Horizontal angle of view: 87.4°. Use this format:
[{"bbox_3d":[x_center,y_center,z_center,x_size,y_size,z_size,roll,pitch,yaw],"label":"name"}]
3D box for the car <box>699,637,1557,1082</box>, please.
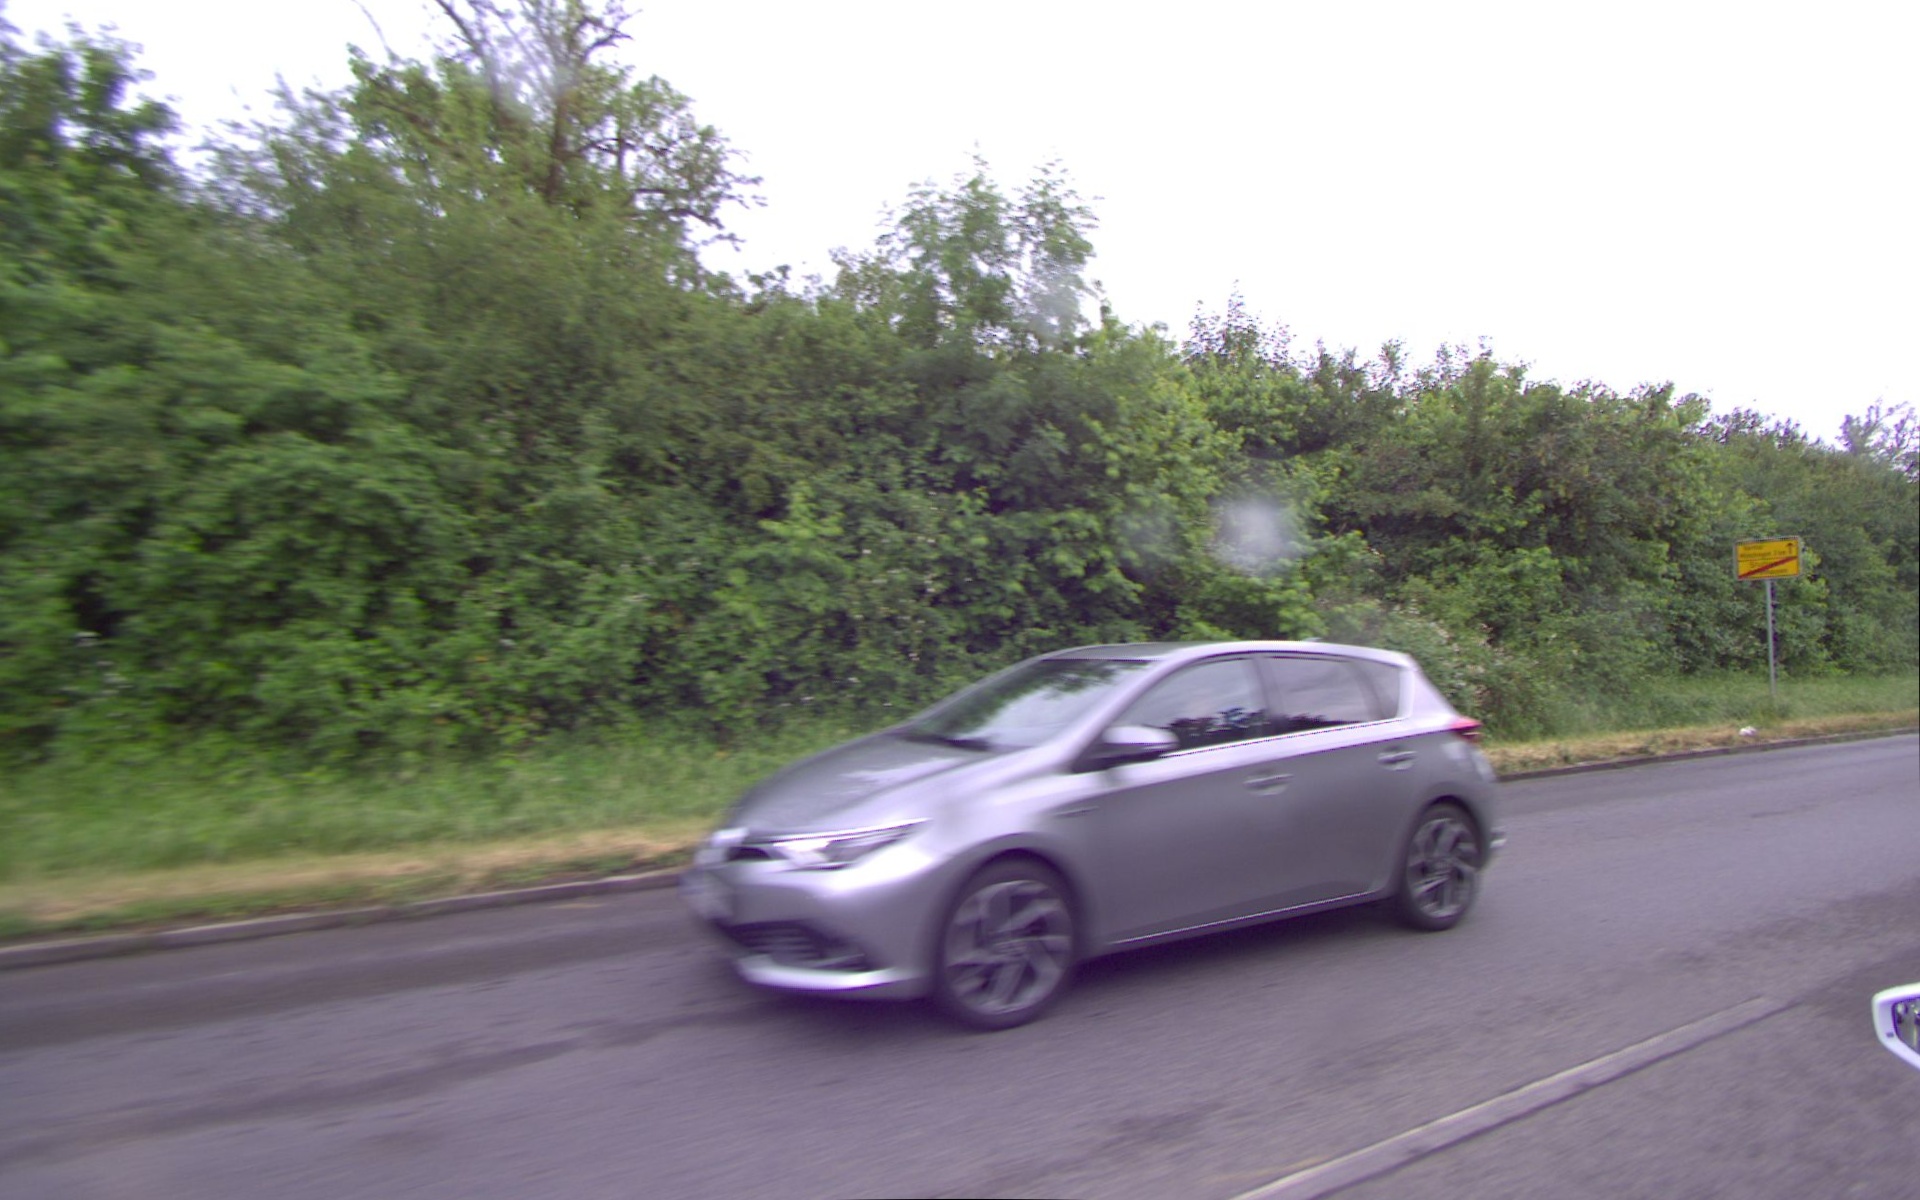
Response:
[{"bbox_3d":[0.953,0.924,5.128,4.128,1.450,1.794,1,-3,-30],"label":"car"}]
